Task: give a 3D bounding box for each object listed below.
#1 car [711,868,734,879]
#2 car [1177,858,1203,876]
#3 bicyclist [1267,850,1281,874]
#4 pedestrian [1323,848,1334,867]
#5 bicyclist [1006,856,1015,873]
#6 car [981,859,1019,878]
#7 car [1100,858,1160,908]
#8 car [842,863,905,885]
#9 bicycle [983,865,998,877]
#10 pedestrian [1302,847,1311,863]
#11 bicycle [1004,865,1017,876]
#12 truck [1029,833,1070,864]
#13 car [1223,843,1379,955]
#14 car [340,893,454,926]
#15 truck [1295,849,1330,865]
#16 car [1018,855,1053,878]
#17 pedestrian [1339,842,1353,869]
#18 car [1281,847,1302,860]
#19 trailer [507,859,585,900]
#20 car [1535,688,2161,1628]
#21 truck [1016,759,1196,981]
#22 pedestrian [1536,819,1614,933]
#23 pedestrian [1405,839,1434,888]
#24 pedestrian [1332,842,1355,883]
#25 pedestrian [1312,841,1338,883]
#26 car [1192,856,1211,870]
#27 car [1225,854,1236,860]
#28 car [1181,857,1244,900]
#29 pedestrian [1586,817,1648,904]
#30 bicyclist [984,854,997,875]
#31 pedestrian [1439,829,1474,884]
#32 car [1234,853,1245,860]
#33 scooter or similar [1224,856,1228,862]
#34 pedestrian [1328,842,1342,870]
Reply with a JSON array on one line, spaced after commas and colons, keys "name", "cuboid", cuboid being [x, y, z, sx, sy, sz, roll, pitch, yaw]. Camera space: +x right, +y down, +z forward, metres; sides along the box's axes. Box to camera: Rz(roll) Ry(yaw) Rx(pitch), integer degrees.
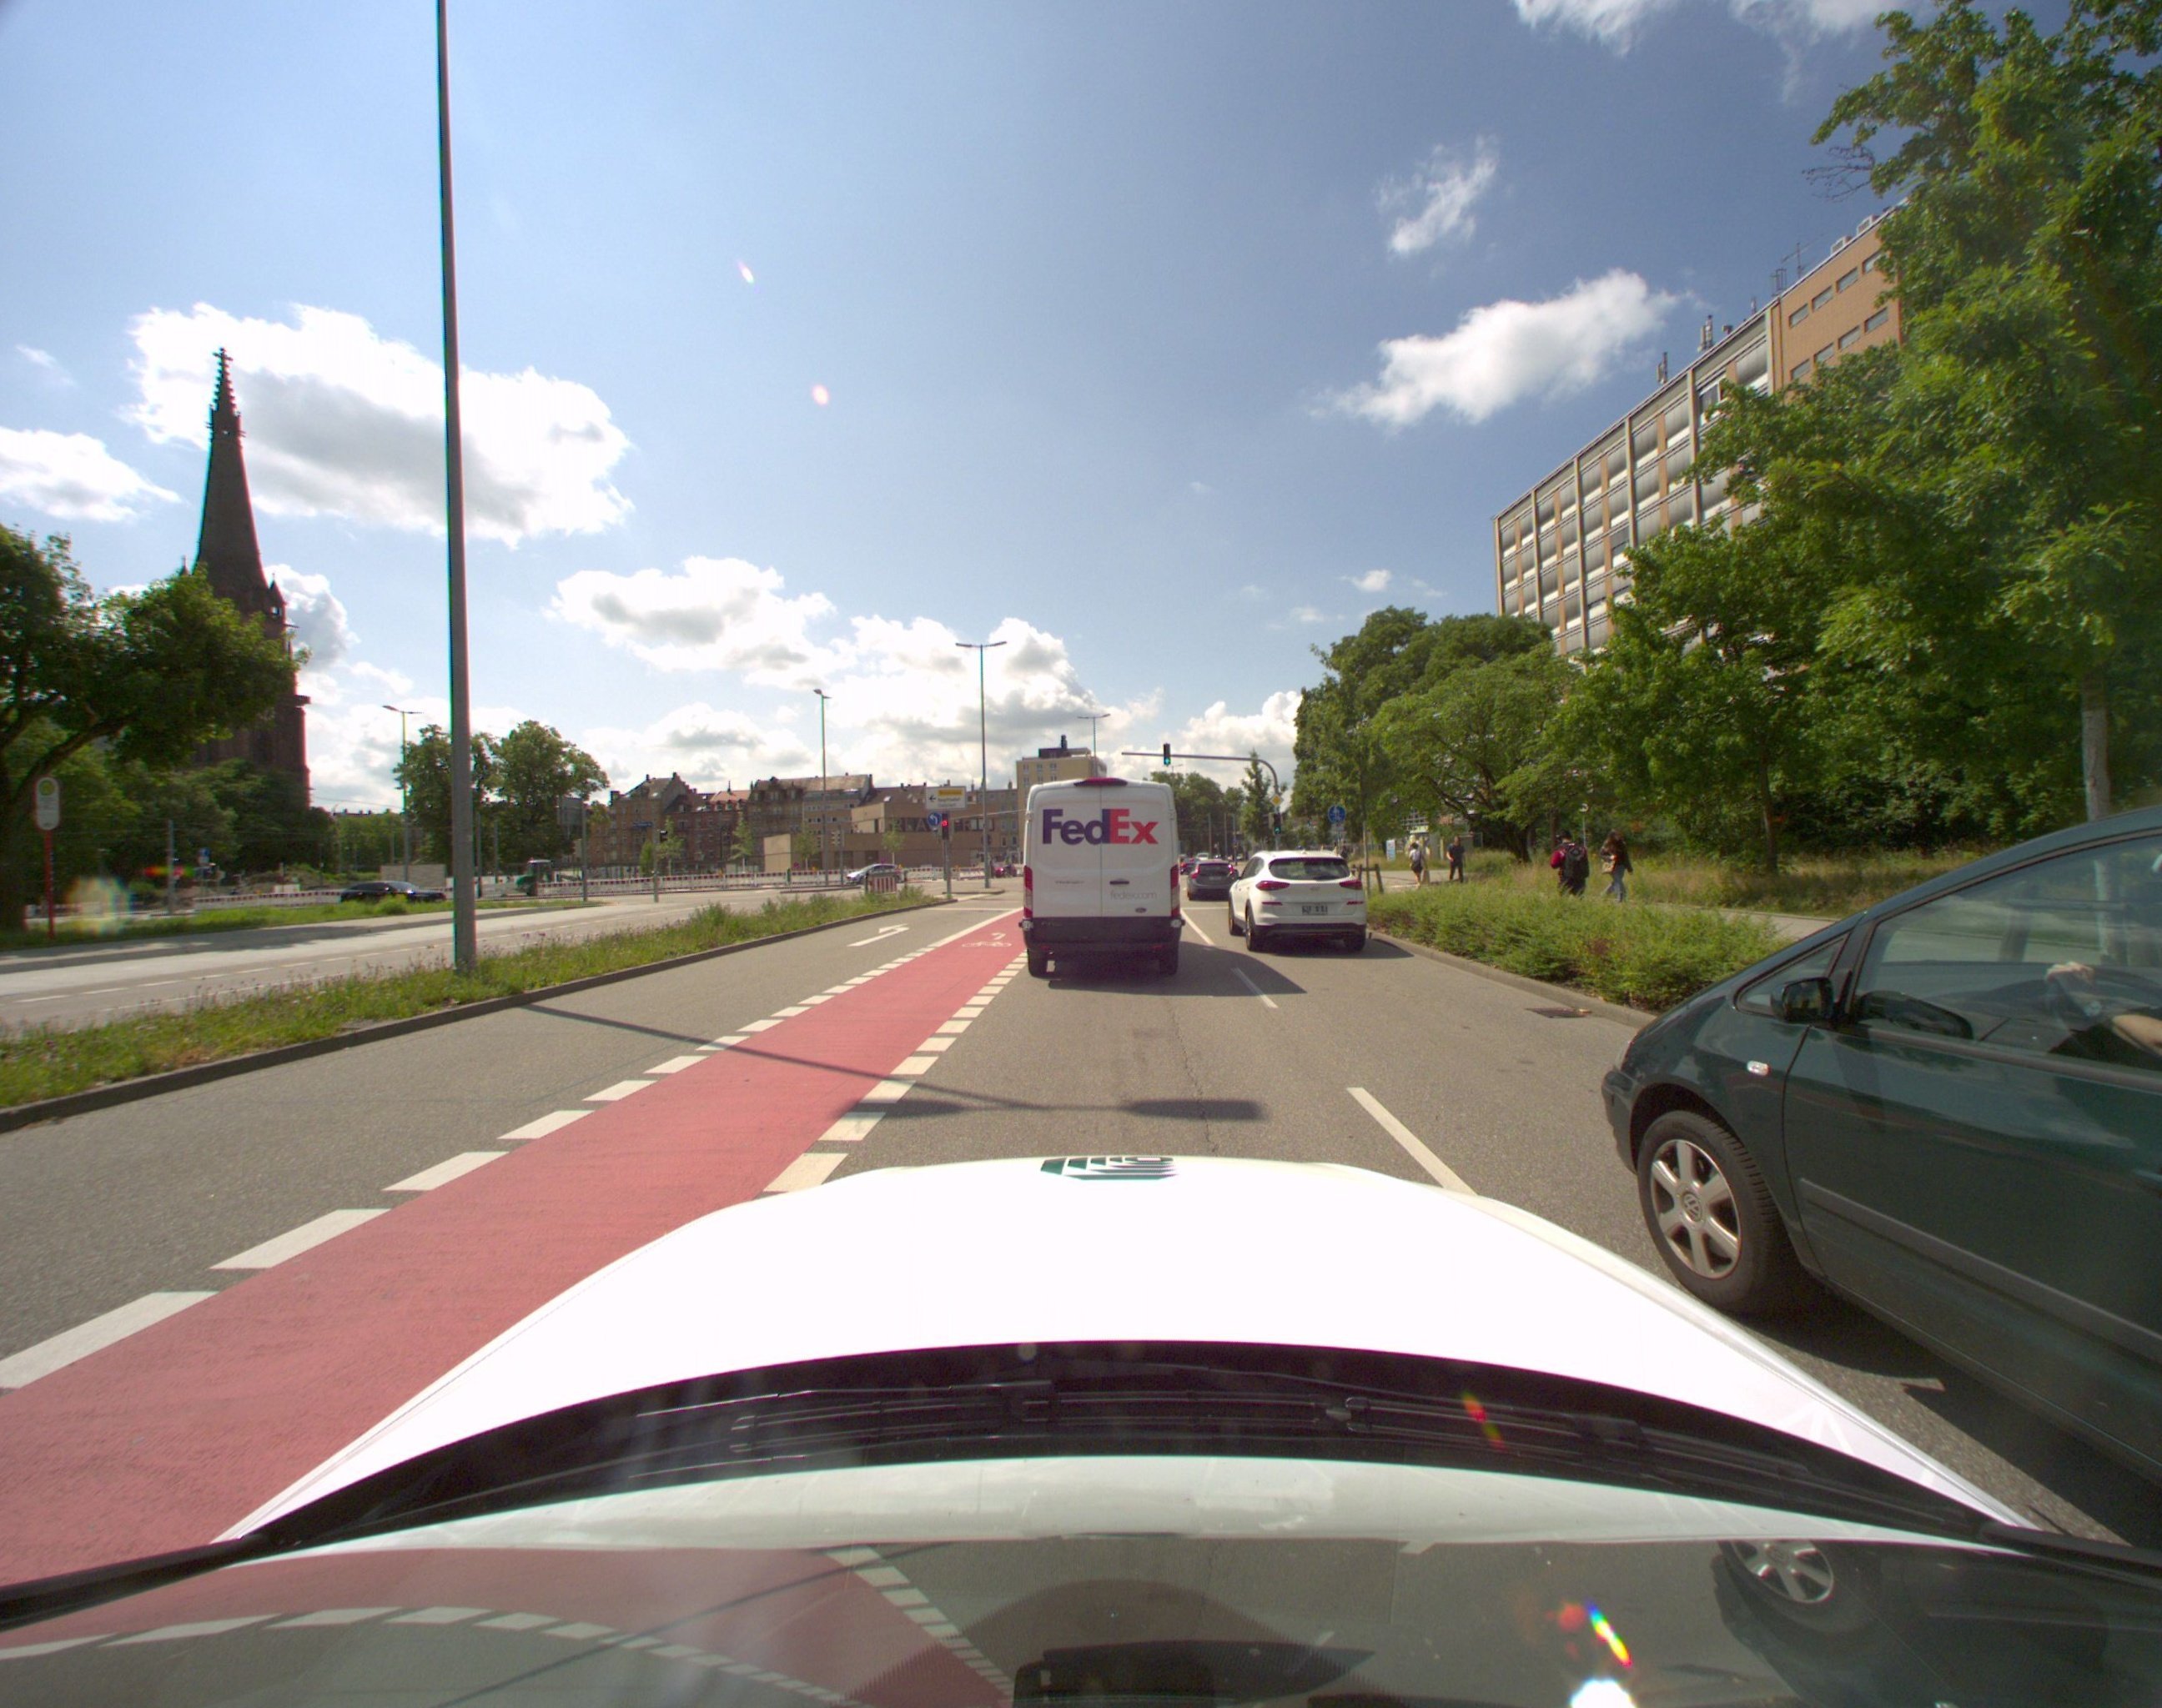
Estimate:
[{"name": "car", "cuboid": [-80.173, 4.338, 182.135, 4.084, 2.343, 2.004, -1, -1, 8]}, {"name": "car", "cuboid": [9.559, 1.094, 71.221, 1.868, 1.506, 4.169, -1, 0, 12]}, {"name": "bicyclist", "cuboid": [13.636, 0.552, 57.567, 0.823, 1.601, 0.581, -5, -2, 9]}, {"name": "pedestrian", "cuboid": [24.872, 0.332, 81.710, 0.752, 1.821, 0.781, -5, -2, 4]}, {"name": "bicyclist", "cuboid": [-6.020, 0.887, 69.570, 0.561, 1.461, 0.840, -2, 0, 13]}, {"name": "car", "cuboid": [-7.243, 1.277, 73.176, 1.978, 1.486, 3.923, -2, 0, 18]}, {"name": "car", "cuboid": [1.645, 0.878, 26.258, 1.733, 1.391, 4.186, -2, 0, 5]}, {"name": "car", "cuboid": [-15.056, 1.447, 59.179, 4.036, 1.508, 1.977, 0, -1, -38]}, {"name": "bicycle", "cuboid": [-7.246, 1.386, 65.554, 0.772, 0.889, 2.111, -2, 0, 5]}, {"name": "pedestrian", "cuboid": [22.020, 0.099, 79.487, 0.752, 1.590, 0.762, -1, -1, 4]}, {"name": "bicycle", "cuboid": [-5.997, 1.403, 69.582, 0.563, 0.889, 1.749, -2, 0, 13]}, {"name": "truck", "cuboid": [-3.208, -0.536, 85.841, 1.978, 3.068, 7.361, -1, -1, 17]}, {"name": "car", "cuboid": [3.716, 0.689, 14.539, 1.873, 1.641, 4.237, -2, 0, 4]}, {"name": "car", "cuboid": [-37.108, 3.013, 44.249, 4.480, 1.486, 2.000, -2, 0, 1]}, {"name": "truck", "cuboid": [47.475, 0.620, 166.739, 2.858, 2.852, 8.844, -3, -1, 44]}, {"name": "car", "cuboid": [-3.330, 0.878, 60.401, 1.871, 1.623, 4.163, -1, 0, 7]}, {"name": "pedestrian", "cuboid": [17.872, 0.122, 54.915, 0.745, 1.752, 0.611, -3, 0, 8]}, {"name": "car", "cuboid": [28.420, -0.059, 109.888, 1.863, 1.641, 3.981, -2, 0, 27]}, {"name": "trailer", "cuboid": [-39.308, 1.842, 59.927, 1.974, 2.914, 4.393, -2, -1, 38]}, {"name": "car", "cuboid": [2.875, 0.559, 1.473, 1.787, 1.723, 4.450, 0, 0, 2]}, {"name": "truck", "cuboid": [0.404, 0.216, 12.748, 2.129, 2.640, 5.920, -1, -1, 2]}, {"name": "pedestrian", "cuboid": [8.005, 0.344, 13.222, 0.664, 1.750, 0.848, -3, 0, 2]}, {"name": "pedestrian", "cuboid": [11.560, 0.326, 27.825, 0.664, 1.596, 0.648, -3, 0, 1]}, {"name": "pedestrian", "cuboid": [11.645, 0.383, 36.141, 0.665, 1.746, 0.608, -3, 0, -4]}, {"name": "pedestrian", "cuboid": [10.759, 0.355, 35.975, 0.748, 1.777, 0.880, -3, 0, -4]}, {"name": "car", "cuboid": [17.881, 1.400, 121.153, 1.977, 2.014, 4.143, -1, -1, 20]}, {"name": "car", "cuboid": [39.128, 0.713, 212.892, 1.976, 1.574, 4.201, -1, -1, 24]}, {"name": "car", "cuboid": [4.809, 0.845, 30.194, 1.906, 1.420, 3.922, -2, 0, 4]}, {"name": "pedestrian", "cuboid": [11.357, 0.132, 17.286, 0.664, 1.750, 0.878, -3, 0, 2]}, {"name": "bicyclist", "cuboid": [-7.272, 0.845, 65.526, 0.772, 1.618, 0.844, -2, 0, 5]}, {"name": "pedestrian", "cuboid": [12.288, 0.079, 26.679, 0.746, 1.750, 0.668, -3, 0, 3]}, {"name": "car", "cuboid": [41.275, 0.668, 211.621, 1.976, 1.574, 4.201, -1, -1, 24]}, {"name": "scooter or similar", "cuboid": [29.036, 1.013, 163.048, 1.101, 1.115, 0.374, 1, -2, -45]}, {"name": "pedestrian", "cuboid": [17.058, 0.138, 54.734, 0.745, 1.802, 0.611, -3, 0, 8]}]
